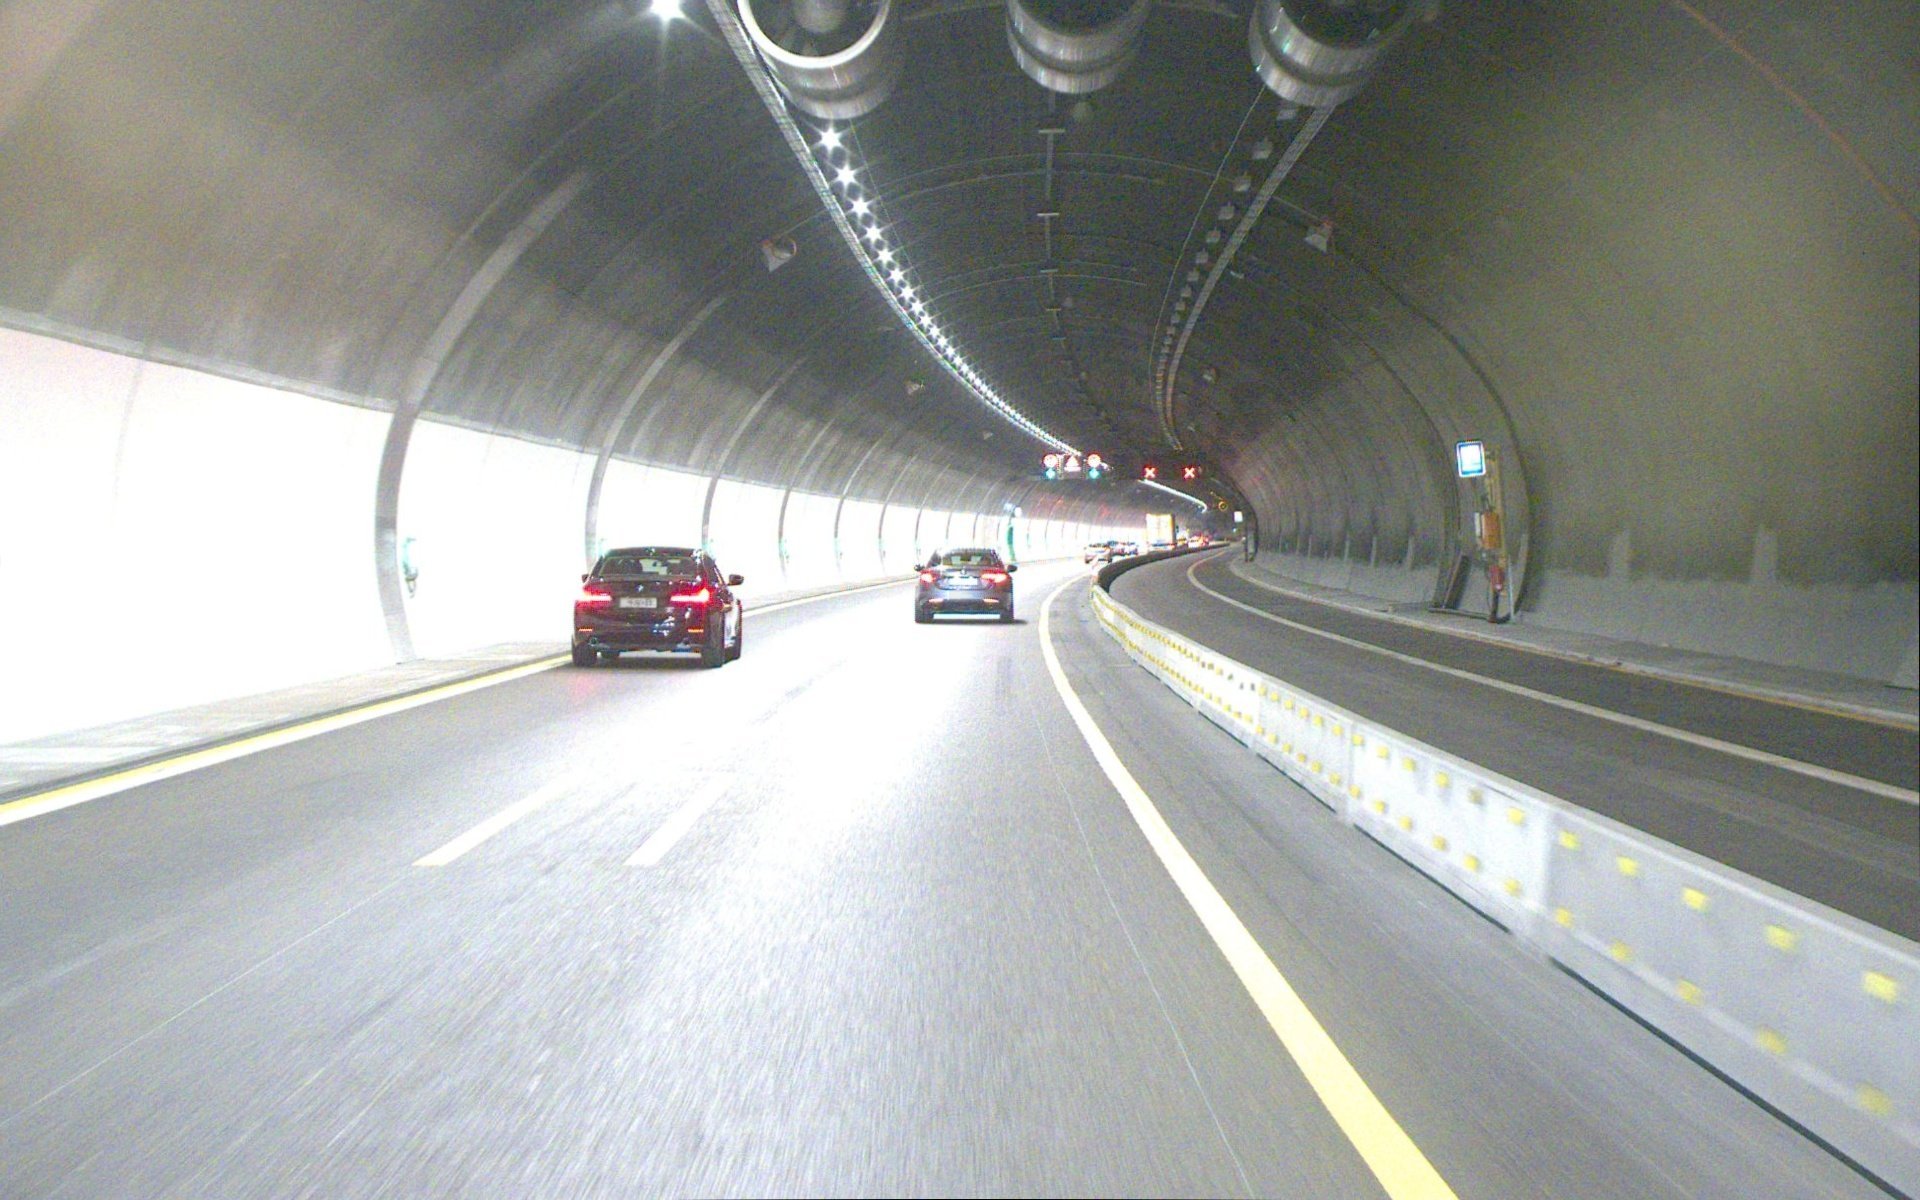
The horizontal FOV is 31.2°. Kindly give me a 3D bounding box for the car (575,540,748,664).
[{"bbox_3d":[-3.668,-0.019,42.986,1.778,1.433,4.883,1,1,-1],"label":"car"}]

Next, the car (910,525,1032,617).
[{"bbox_3d":[0.245,-0.586,66.039,2.141,1.700,4.000,0,1,3],"label":"car"}]

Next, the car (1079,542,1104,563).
[{"bbox_3d":[8.466,-3.089,221.888,1.595,1.328,3.750,1,1,2],"label":"car"}]
